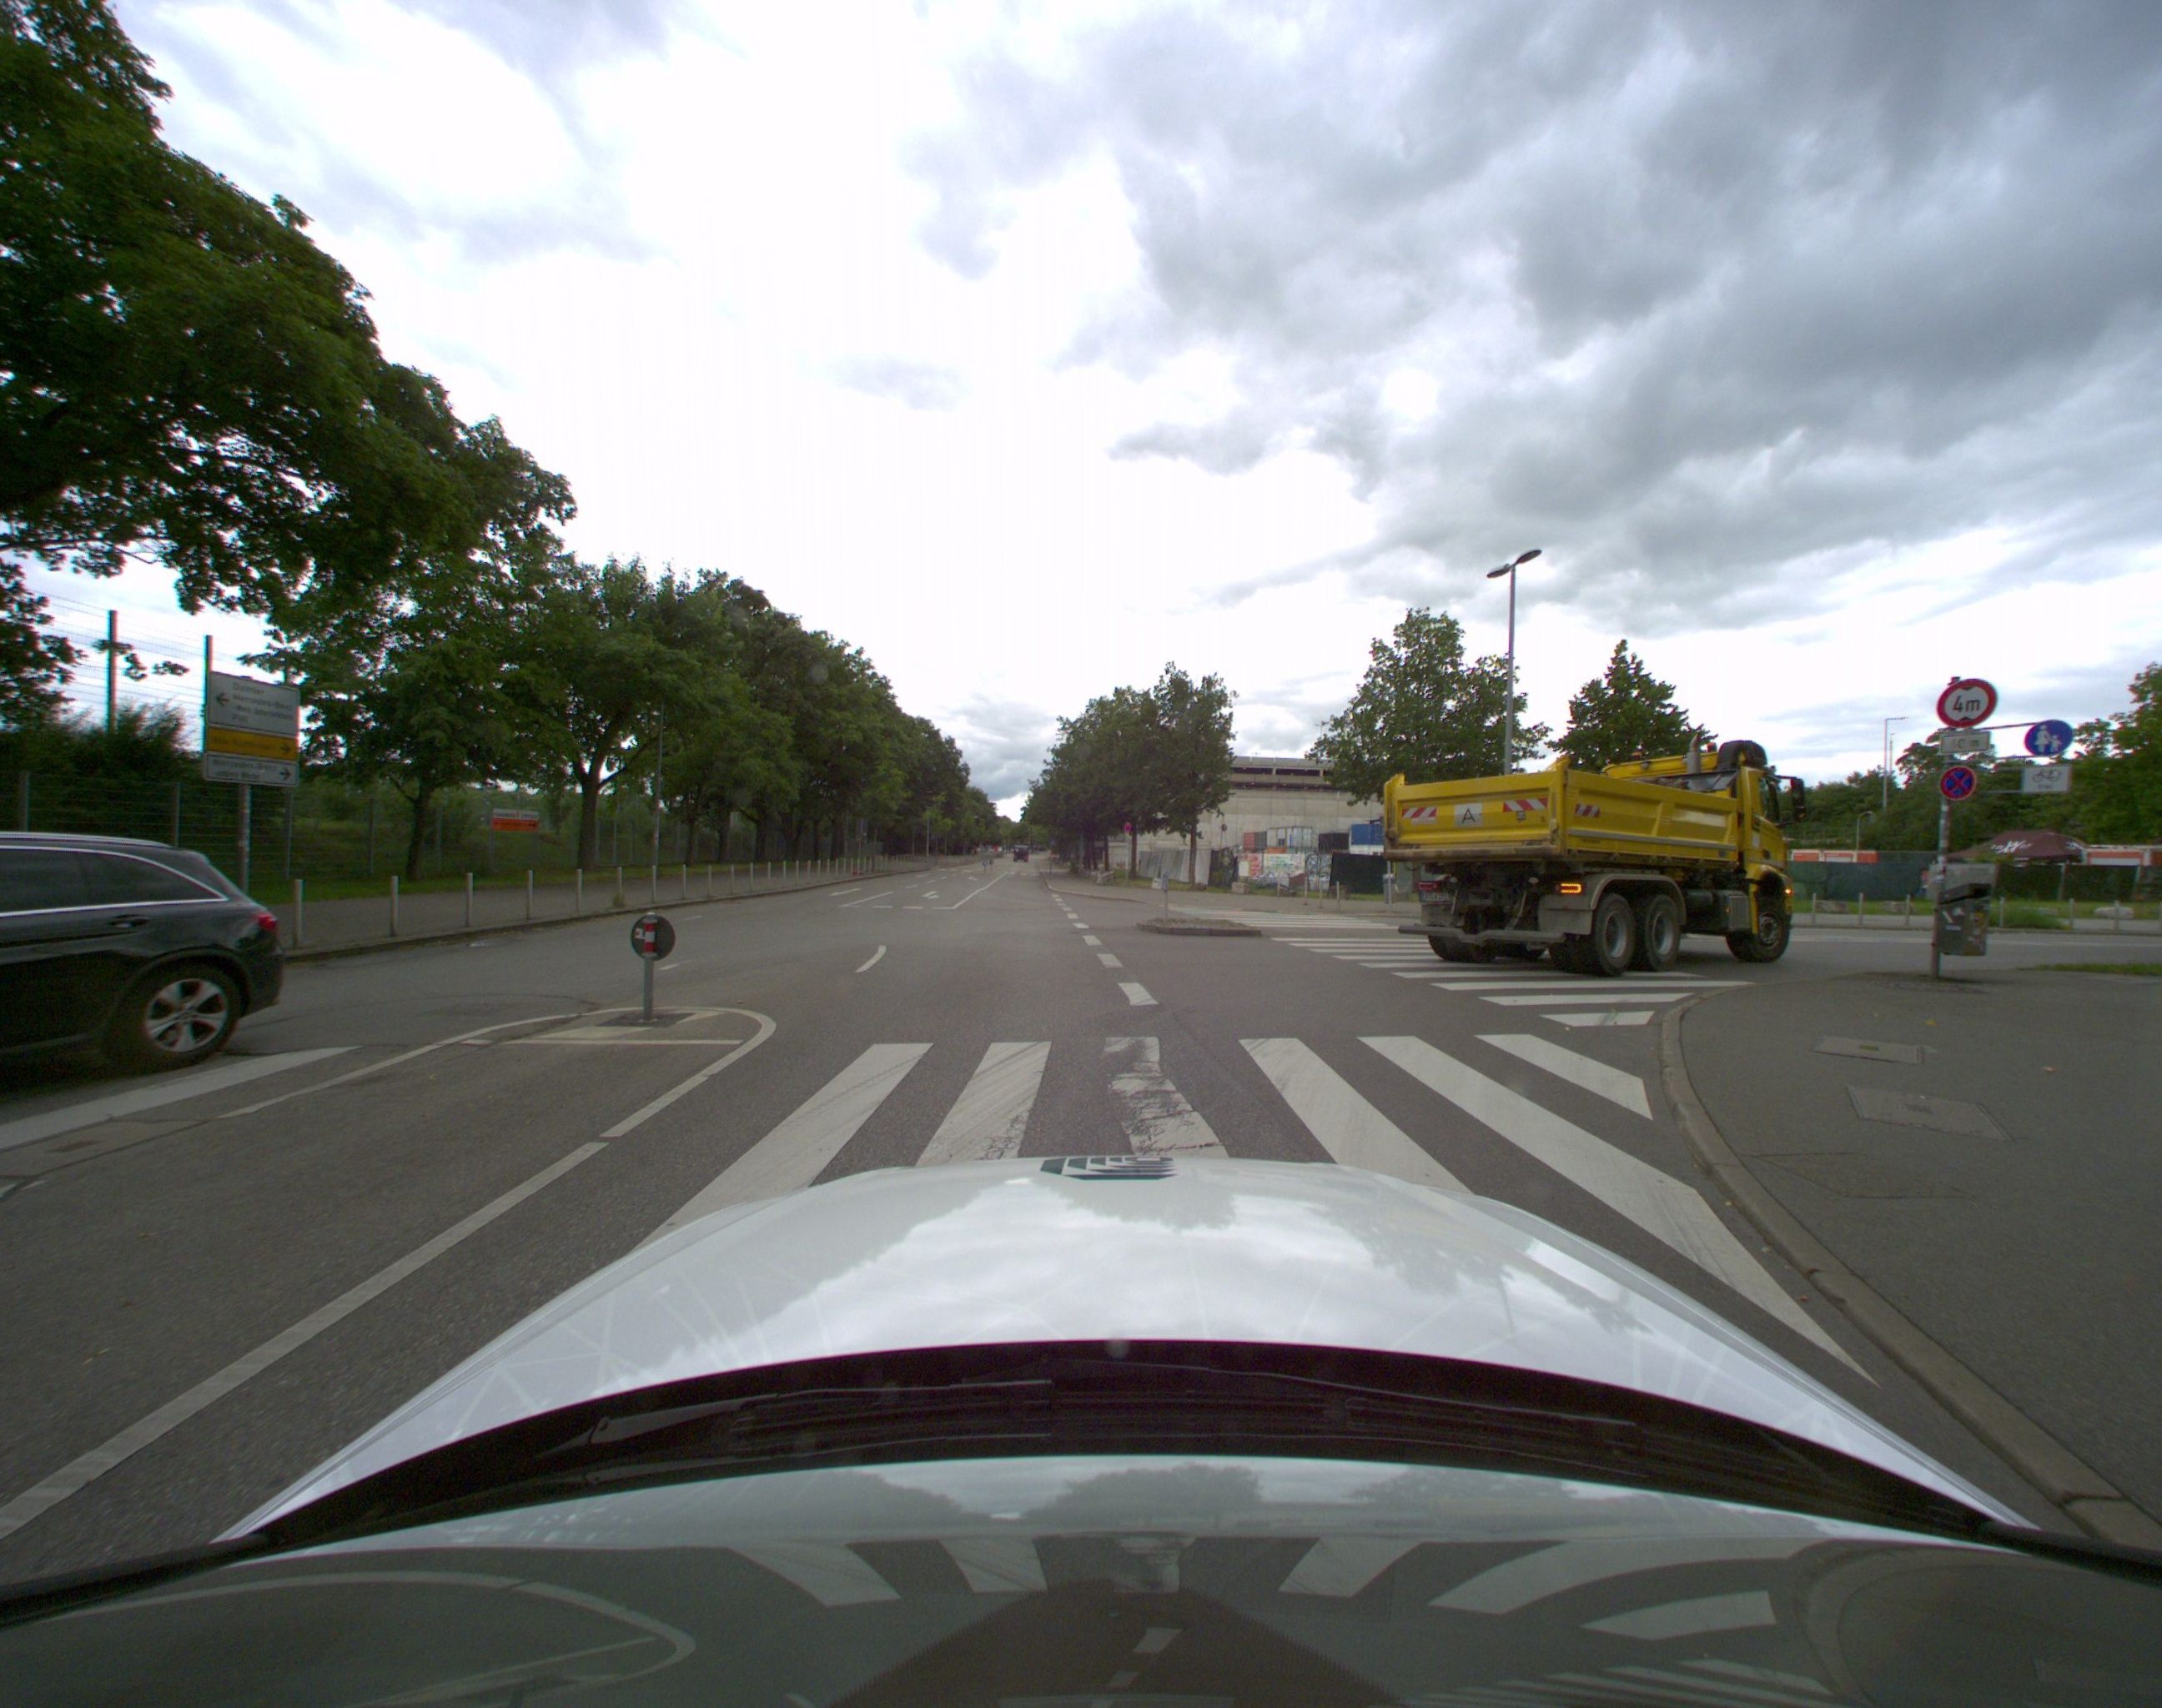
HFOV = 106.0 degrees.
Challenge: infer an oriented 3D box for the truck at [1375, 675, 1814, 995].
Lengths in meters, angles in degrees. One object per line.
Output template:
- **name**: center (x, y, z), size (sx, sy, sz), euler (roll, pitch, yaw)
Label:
- **truck**: center (8.304, -0.211, 12.740), size (7.909, 3.698, 2.739), euler (1, 0, -33)

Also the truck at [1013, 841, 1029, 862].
- **truck**: center (-10.567, -0.405, 143.032), size (2.668, 3.558, 7.911), euler (-1, -1, -4)

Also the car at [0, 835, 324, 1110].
- **car**: center (-7.108, 0.674, 4.340), size (1.833, 1.574, 4.550), euler (1, 0, 1)
